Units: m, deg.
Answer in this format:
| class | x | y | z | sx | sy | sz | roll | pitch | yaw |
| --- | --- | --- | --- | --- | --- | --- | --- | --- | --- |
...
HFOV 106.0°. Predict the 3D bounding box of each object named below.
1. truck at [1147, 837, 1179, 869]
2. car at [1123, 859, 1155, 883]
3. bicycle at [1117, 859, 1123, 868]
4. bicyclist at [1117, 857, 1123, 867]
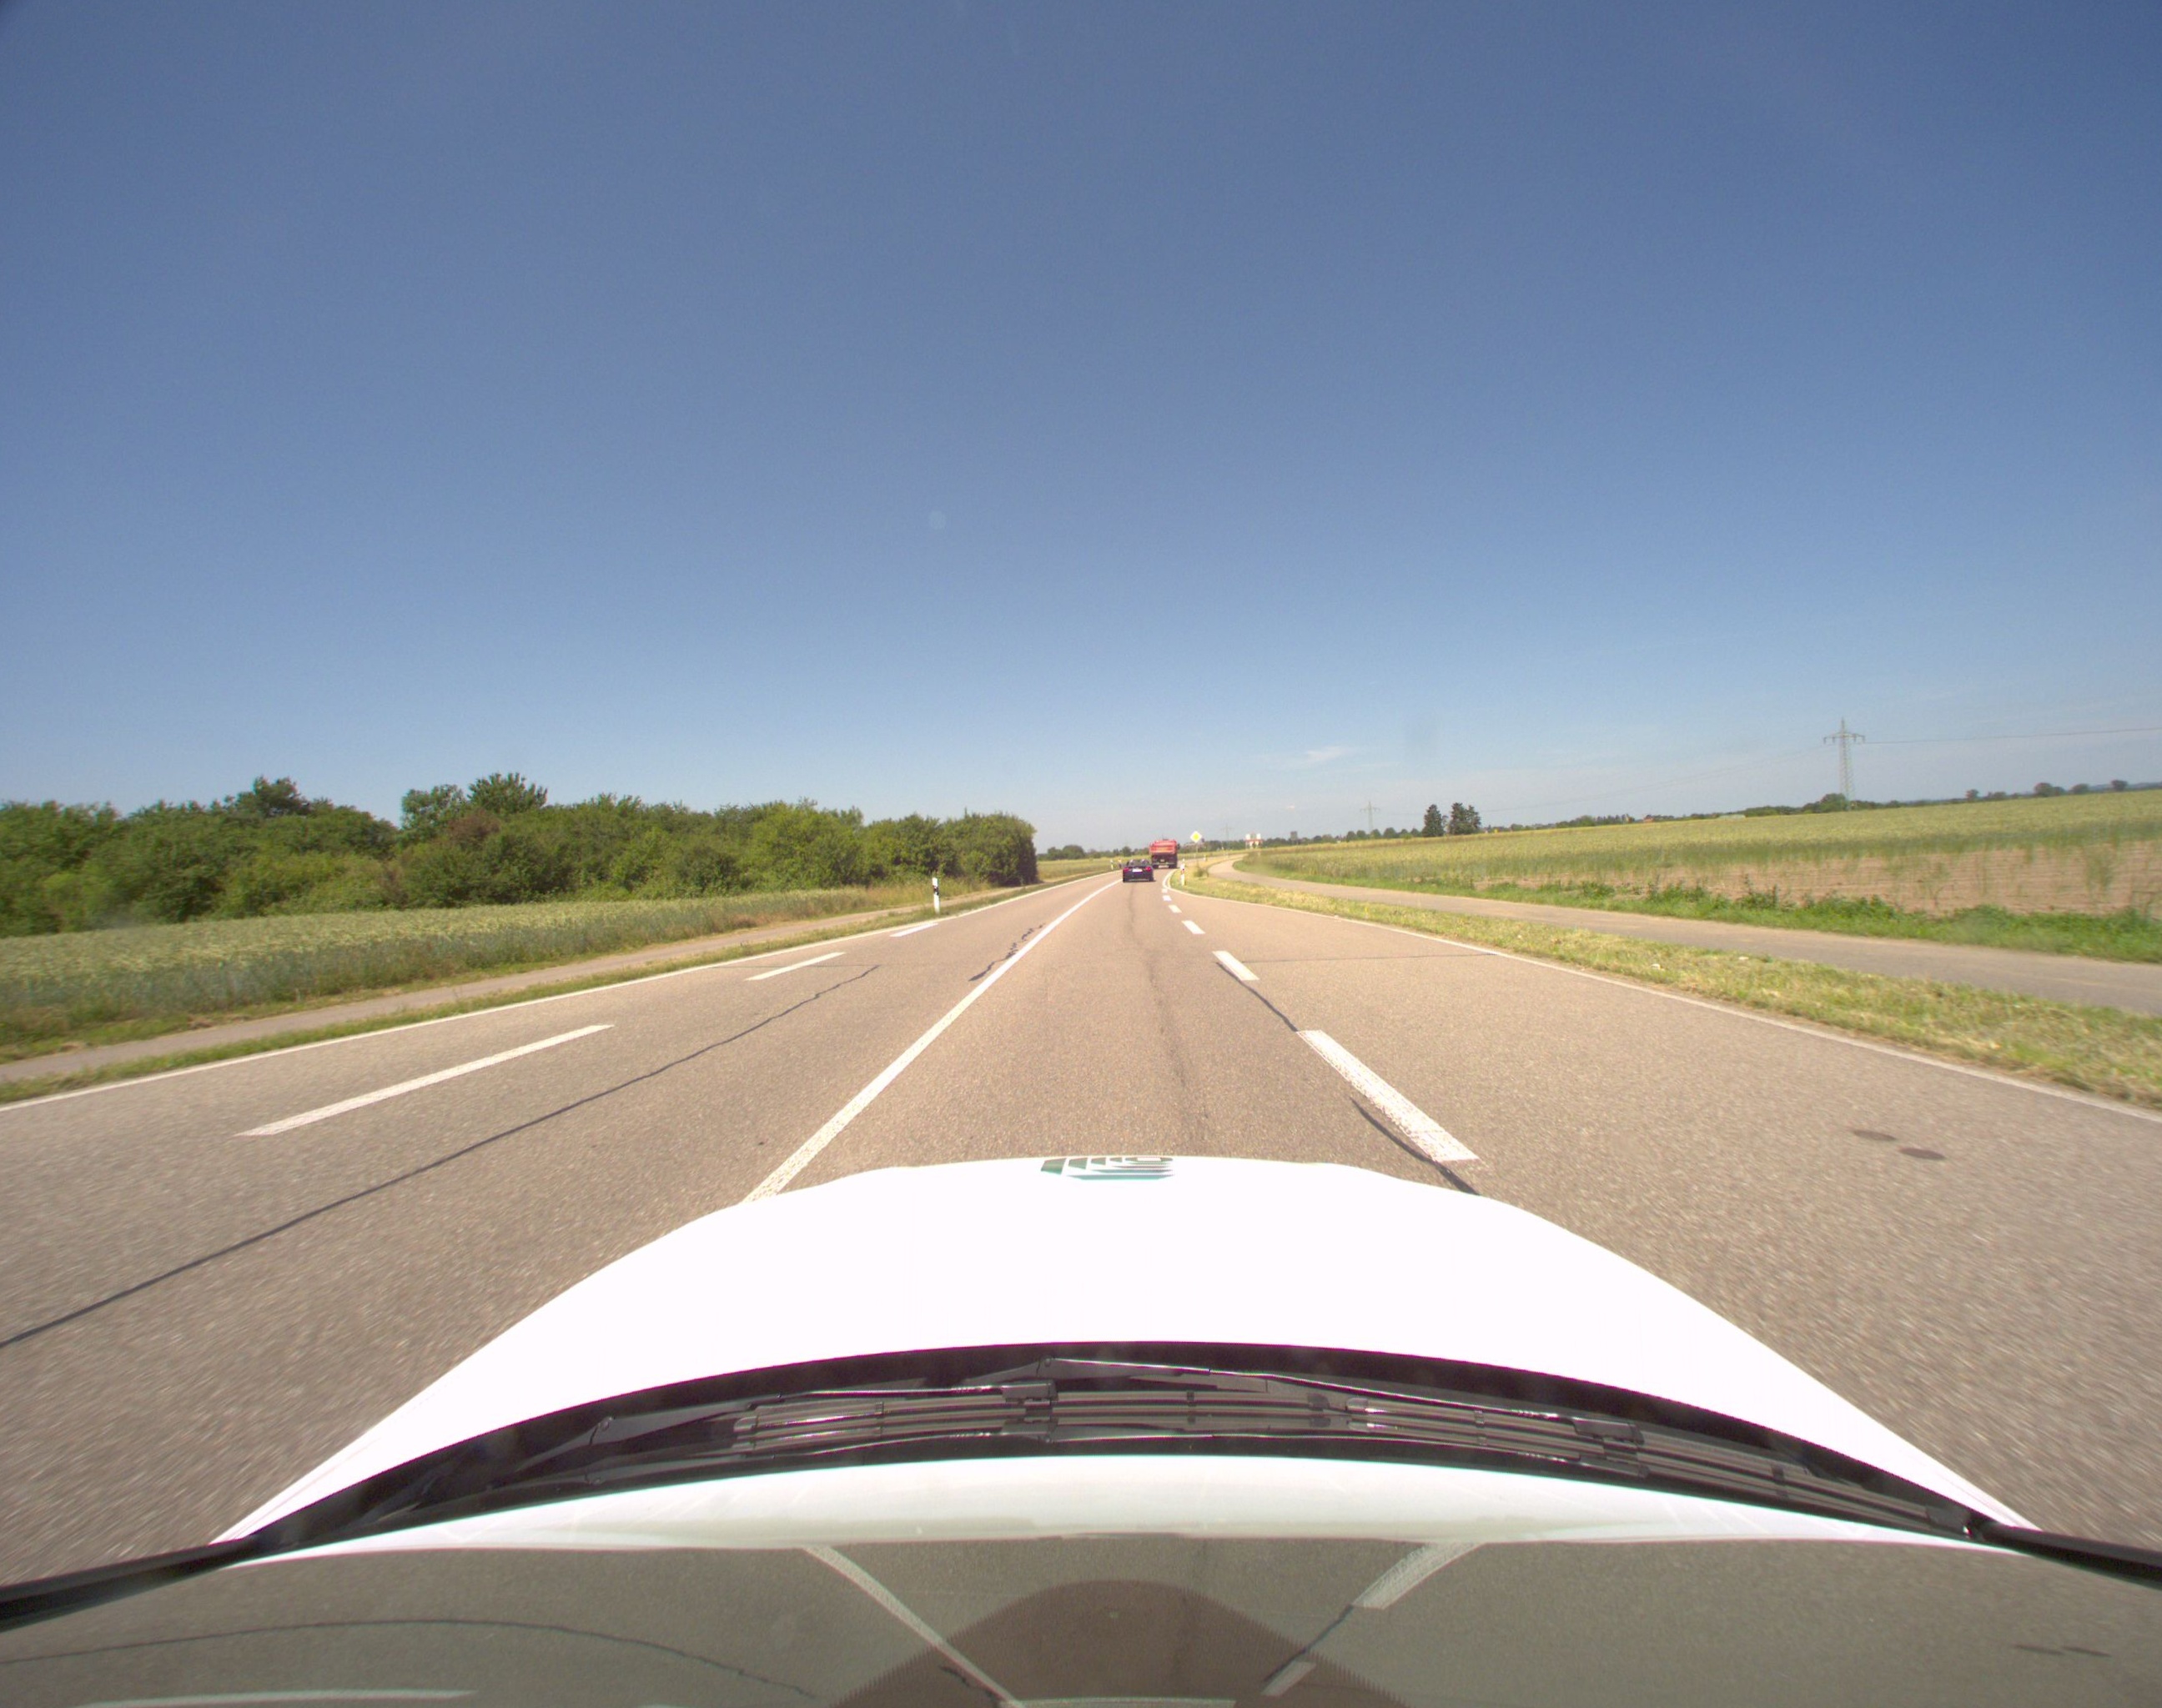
| class | x | y | z | sx | sy | sz | roll | pitch | yaw |
| --- | --- | --- | --- | --- | --- | --- | --- | --- | --- |
| truck | 8.624 | -0.058 | 85.016 | 2.922 | 3.089 | 7.211 | -2 | -1 | 8 |
| car | 3.440 | 0.960 | 47.798 | 1.736 | 1.280 | 4.005 | -2 | 0 | 4 |
| bicycle | 5.780 | 1.404 | 120.626 | 0.690 | 1.176 | 1.969 | -4 | 0 | 10 |
| bicyclist | 5.778 | 1.127 | 120.700 | 0.660 | 1.438 | 0.825 | -2 | -1 | 9 |
